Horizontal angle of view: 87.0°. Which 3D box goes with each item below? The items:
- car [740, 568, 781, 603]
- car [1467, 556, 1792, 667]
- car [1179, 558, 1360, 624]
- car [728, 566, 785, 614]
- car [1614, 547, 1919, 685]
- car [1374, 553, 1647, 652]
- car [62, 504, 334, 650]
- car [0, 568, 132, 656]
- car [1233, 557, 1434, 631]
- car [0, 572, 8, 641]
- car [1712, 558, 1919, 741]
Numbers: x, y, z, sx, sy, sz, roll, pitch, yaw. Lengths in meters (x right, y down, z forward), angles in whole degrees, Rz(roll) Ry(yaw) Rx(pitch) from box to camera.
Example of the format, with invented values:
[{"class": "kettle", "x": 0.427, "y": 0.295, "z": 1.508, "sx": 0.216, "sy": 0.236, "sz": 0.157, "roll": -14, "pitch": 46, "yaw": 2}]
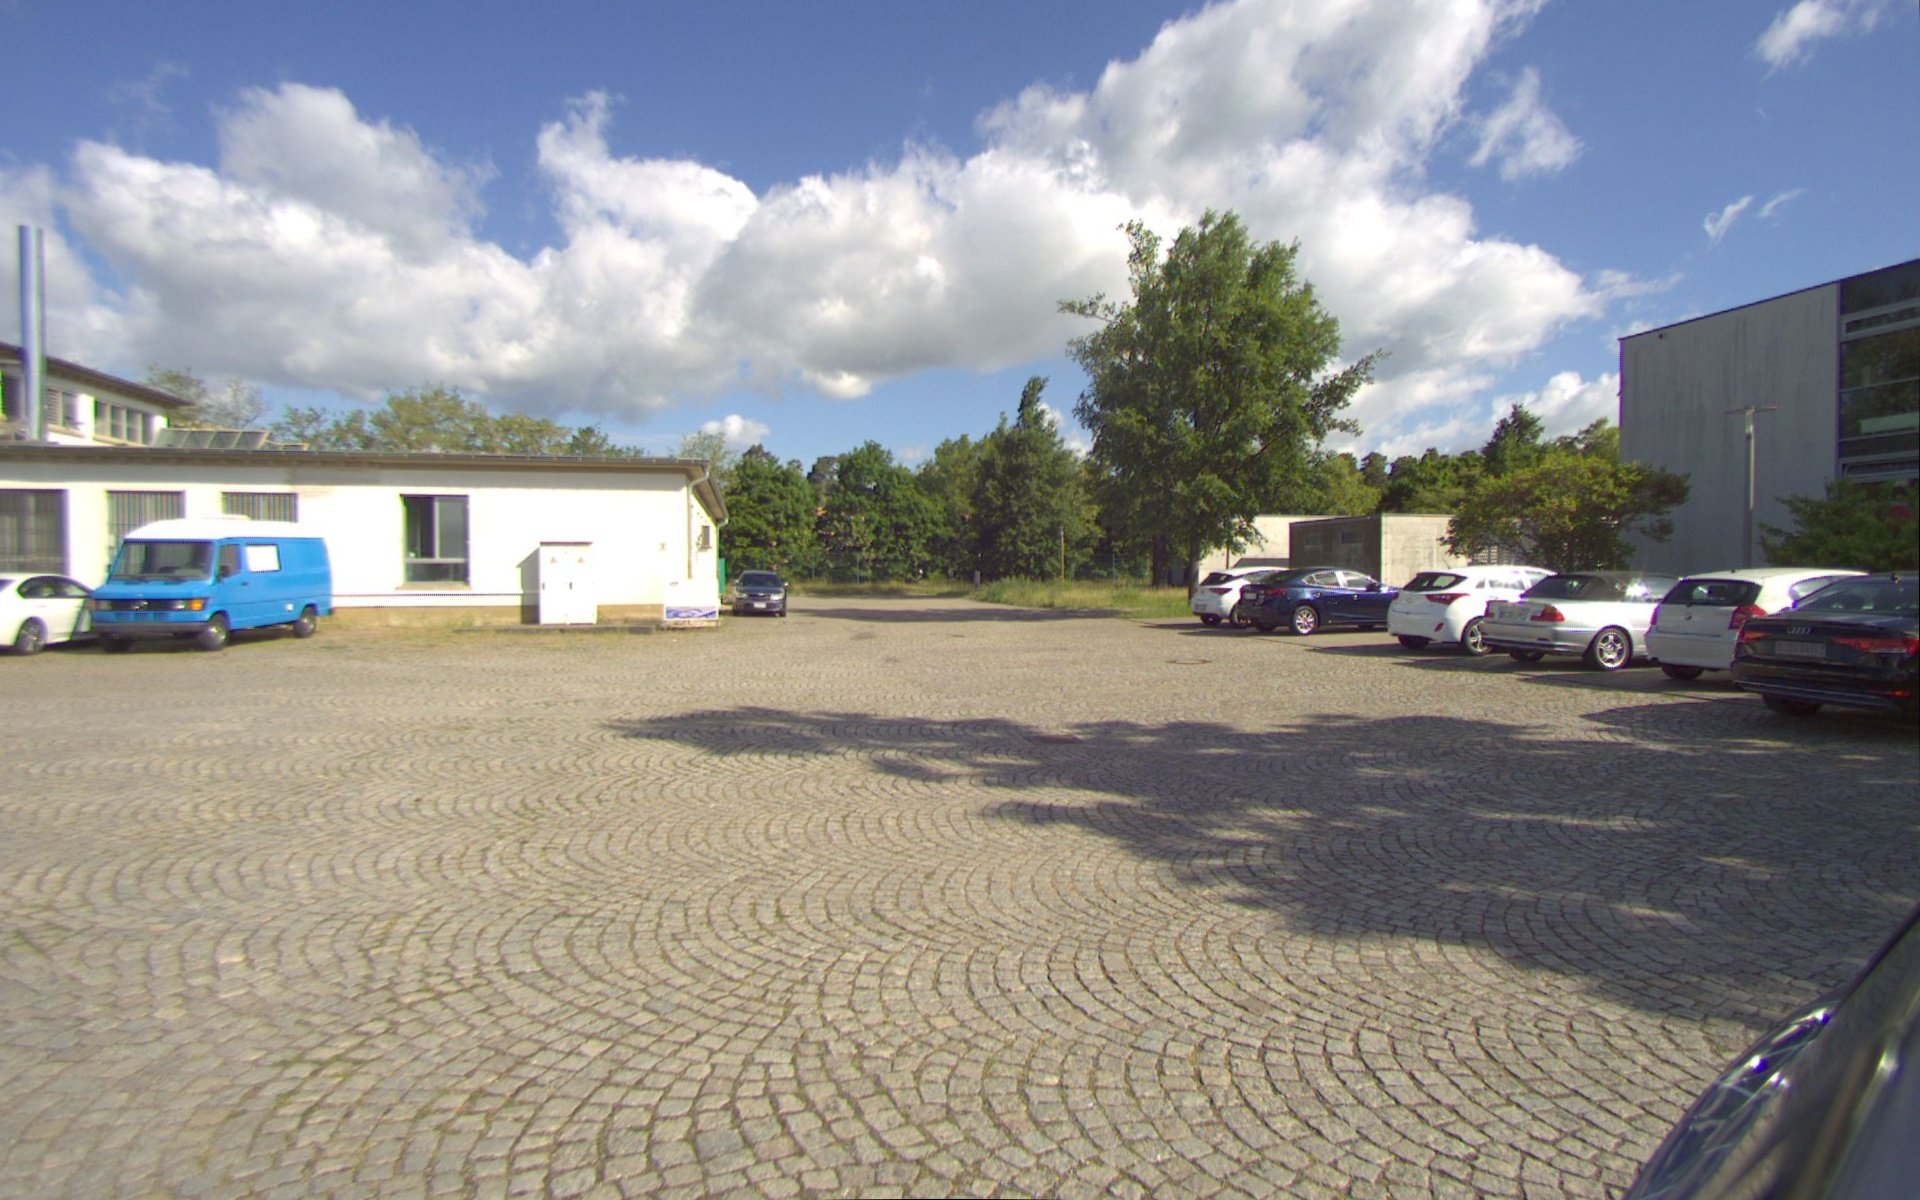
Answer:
[{"class": "car", "x": -8.546, "y": -0.639, "z": 43.327, "sx": 1.657, "sy": 1.453, "sz": 3.995, "roll": 0, "pitch": 1, "yaw": -11}, {"class": "car", "x": 9.784, "y": 0.124, "z": 14.913, "sx": 3.844, "sy": 1.389, "sz": 1.731, "roll": -2, "pitch": 2, "yaw": -11}, {"class": "car", "x": 7.637, "y": -0.247, "z": 25.112, "sx": 3.844, "sy": 1.453, "sz": 1.799, "roll": -2, "pitch": 2, "yaw": -11}, {"class": "car", "x": -6.751, "y": -0.364, "z": 33.691, "sx": 1.732, "sy": 1.453, "sz": 4.000, "roll": 1, "pitch": 1, "yaw": -11}, {"class": "car", "x": 10.667, "y": 0.134, "z": 12.574, "sx": 4.068, "sy": 1.478, "sz": 1.694, "roll": -2, "pitch": 2, "yaw": -6}, {"class": "car", "x": 9.411, "y": 0.002, "z": 17.430, "sx": 3.844, "sy": 1.464, "sz": 1.759, "roll": -2, "pitch": 2, "yaw": -11}, {"class": "car", "x": -14.748, "y": -0.478, "z": 20.088, "sx": 2.047, "sy": 2.514, "sz": 5.248, "roll": -1, "pitch": 2, "yaw": -9}, {"class": "car", "x": -17.196, "y": 0.175, "z": 18.336, "sx": 1.702, "sy": 1.422, "sz": 3.747, "roll": -1, "pitch": 3, "yaw": -9}, {"class": "car", "x": 8.266, "y": -0.158, "z": 22.526, "sx": 3.844, "sy": 1.435, "sz": 1.696, "roll": -2, "pitch": 2, "yaw": -11}, {"class": "car", "x": -20.062, "y": 0.180, "z": 18.744, "sx": 1.657, "sy": 1.416, "sz": 3.838, "roll": 0, "pitch": 2, "yaw": -9}, {"class": "car", "x": 9.890, "y": 0.322, "z": 9.632, "sx": 4.636, "sy": 1.440, "sz": 1.761, "roll": -2, "pitch": 2, "yaw": -12}]
